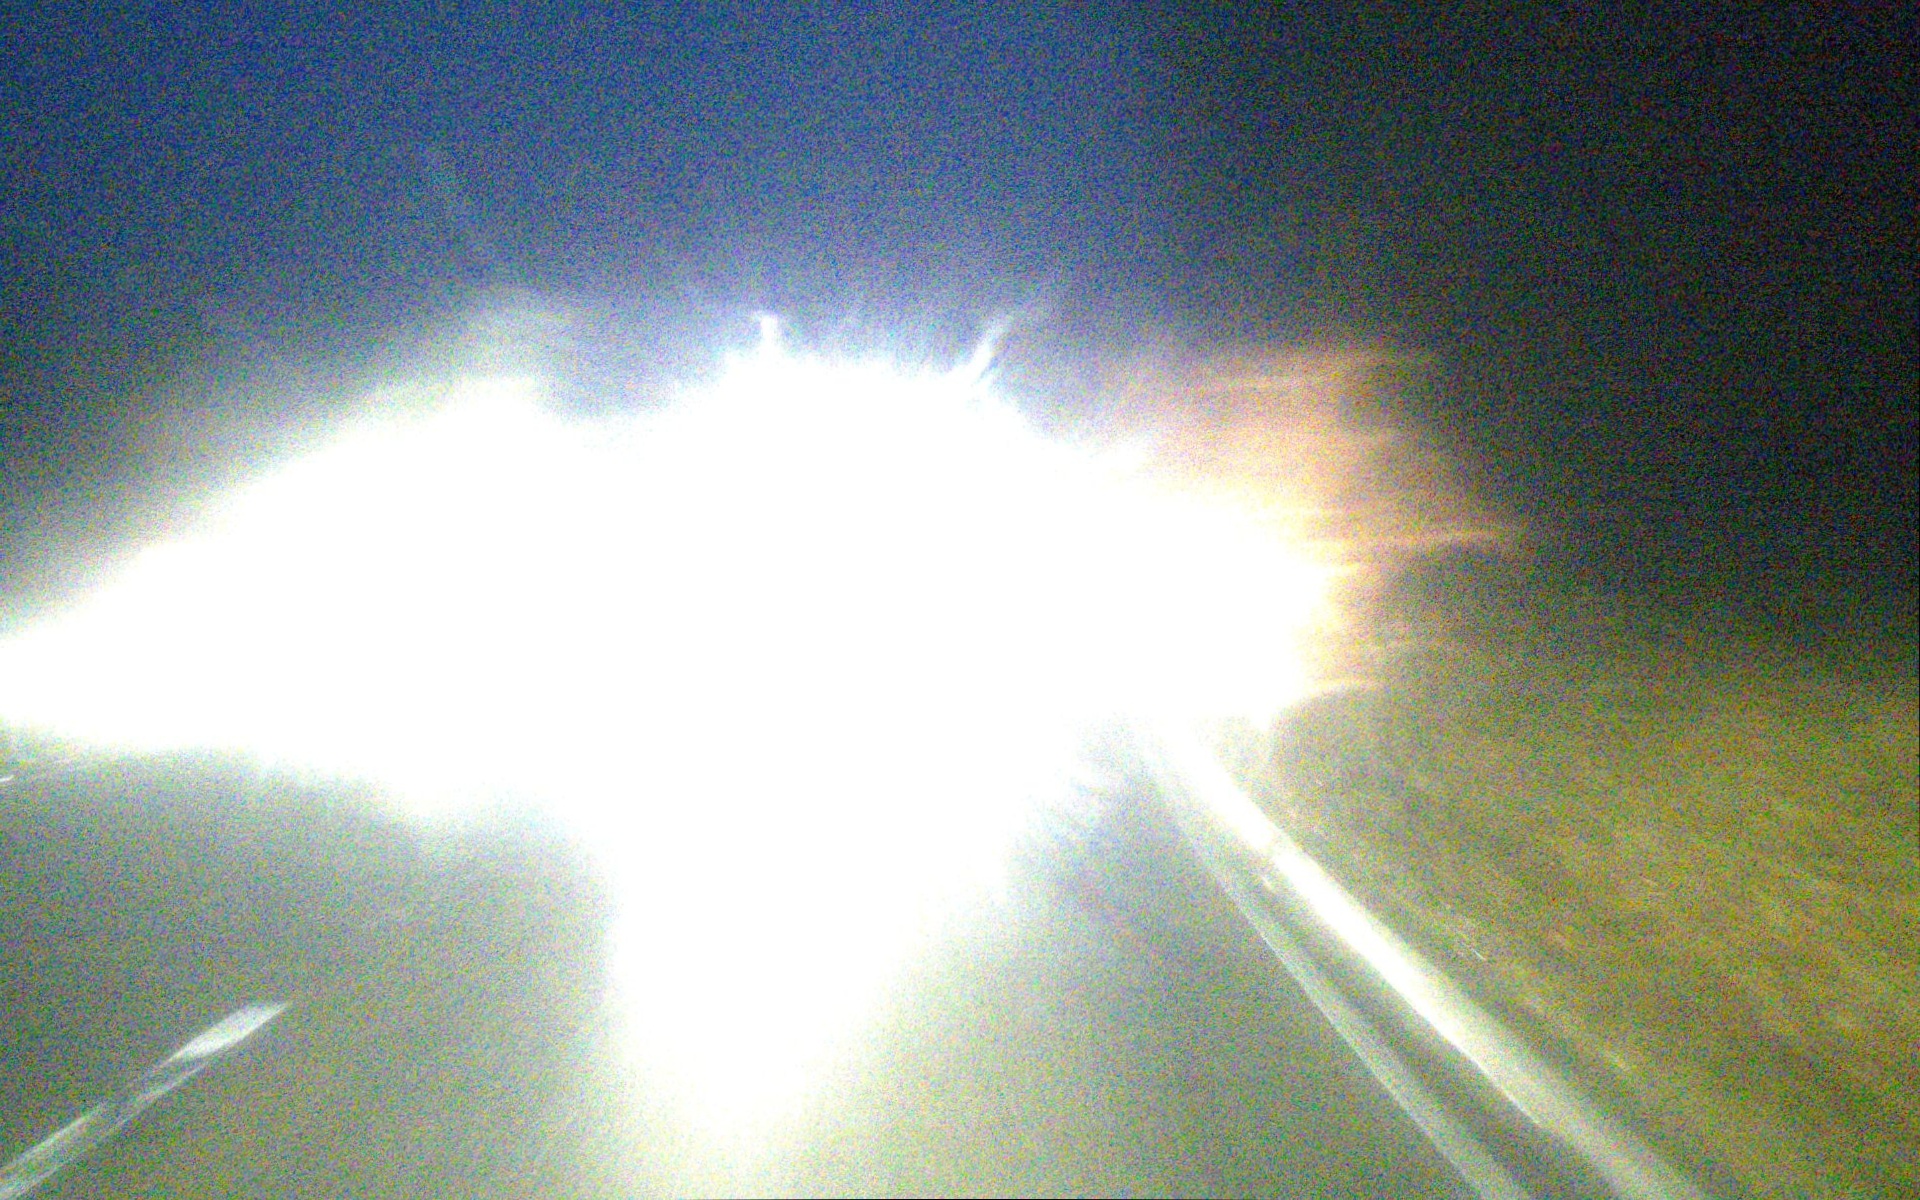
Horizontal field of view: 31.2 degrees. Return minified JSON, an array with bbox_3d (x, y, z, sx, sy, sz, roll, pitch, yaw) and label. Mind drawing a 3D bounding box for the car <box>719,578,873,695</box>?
[{"bbox_3d":[-2.442,0.550,52.325,1.993,1.687,4.698,1,0,1],"label":"car"}]
